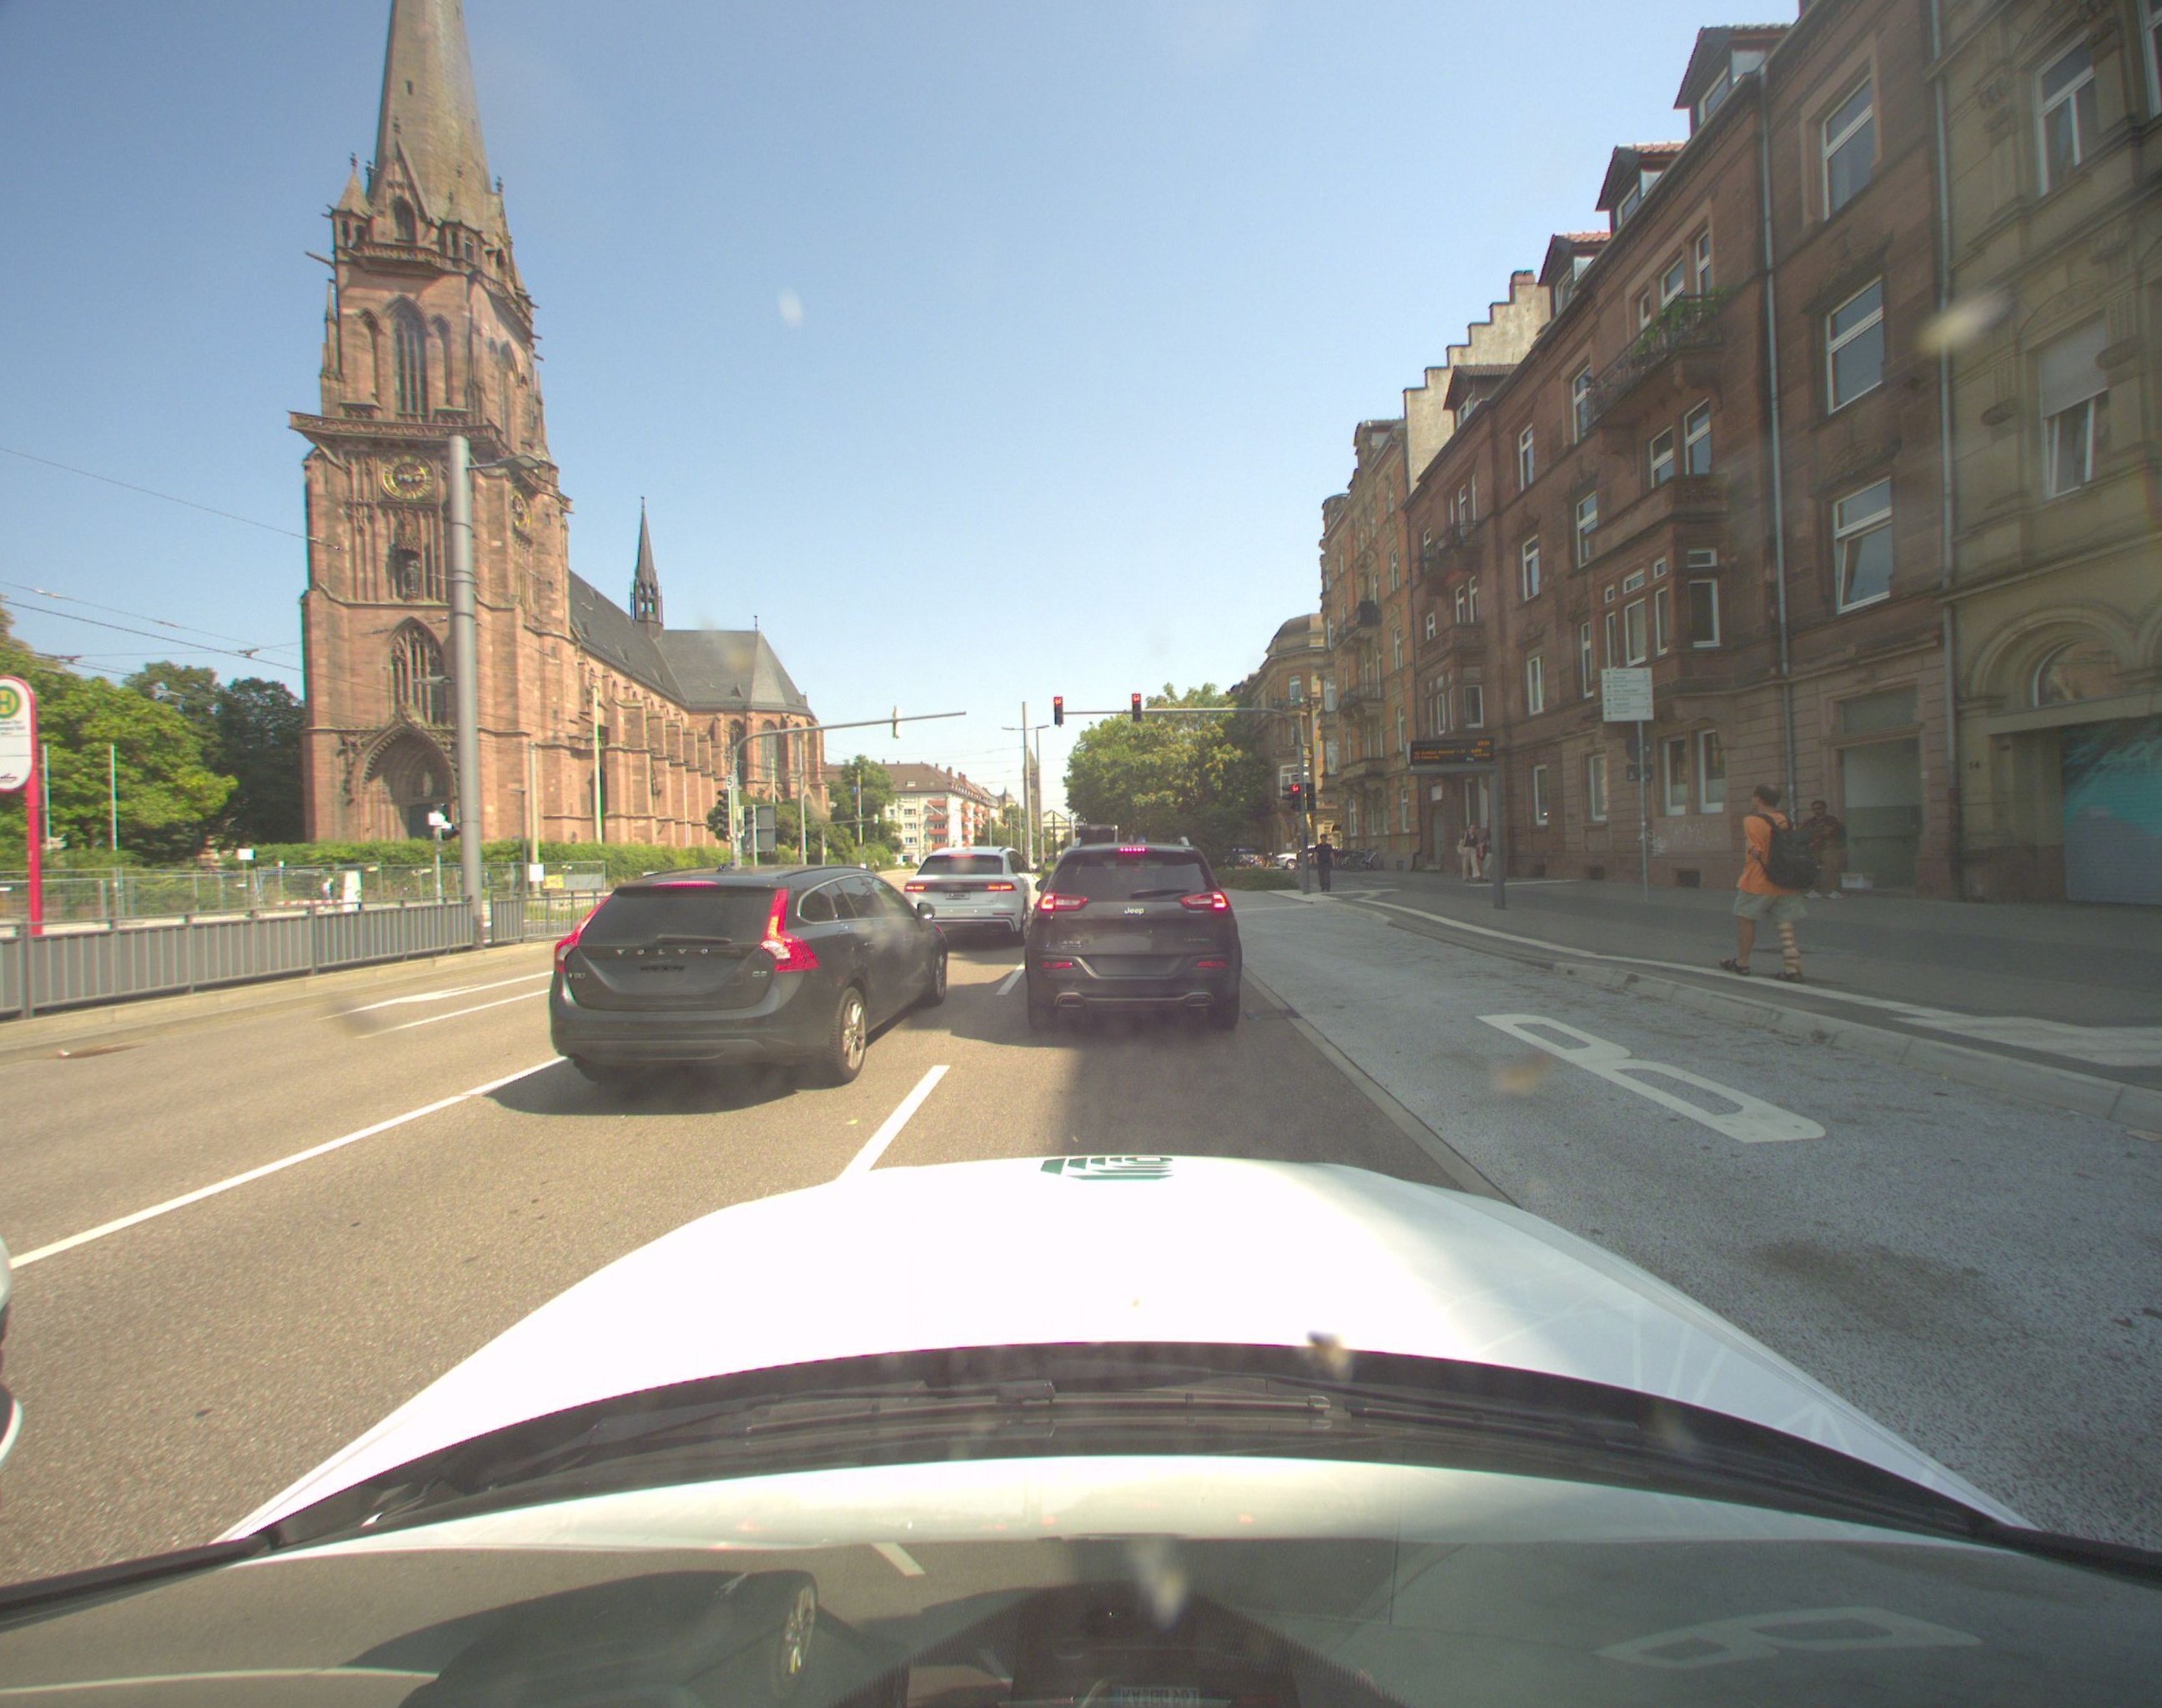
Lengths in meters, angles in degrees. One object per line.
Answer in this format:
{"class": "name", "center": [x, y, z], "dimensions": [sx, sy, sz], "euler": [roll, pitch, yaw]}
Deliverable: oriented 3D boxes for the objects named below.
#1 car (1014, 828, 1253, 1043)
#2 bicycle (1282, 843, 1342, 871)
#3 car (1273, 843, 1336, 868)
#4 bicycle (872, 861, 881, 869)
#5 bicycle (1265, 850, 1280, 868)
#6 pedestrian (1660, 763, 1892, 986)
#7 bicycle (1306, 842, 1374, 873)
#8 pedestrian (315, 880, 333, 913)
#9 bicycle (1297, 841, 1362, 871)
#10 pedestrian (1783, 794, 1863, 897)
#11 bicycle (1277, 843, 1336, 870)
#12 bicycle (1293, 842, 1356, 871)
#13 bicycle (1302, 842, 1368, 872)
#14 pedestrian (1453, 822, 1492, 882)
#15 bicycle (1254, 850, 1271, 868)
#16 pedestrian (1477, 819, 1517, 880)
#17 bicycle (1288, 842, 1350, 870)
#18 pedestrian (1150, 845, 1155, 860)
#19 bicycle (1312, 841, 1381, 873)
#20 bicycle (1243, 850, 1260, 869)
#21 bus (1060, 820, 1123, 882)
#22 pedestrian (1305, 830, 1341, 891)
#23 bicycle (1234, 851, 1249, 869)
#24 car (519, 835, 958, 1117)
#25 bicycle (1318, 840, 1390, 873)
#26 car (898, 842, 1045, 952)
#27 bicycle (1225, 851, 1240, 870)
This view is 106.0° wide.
{"class": "car", "center": [0.521, 0.629, 8.466], "dimensions": [1.825, 1.651, 4.312], "euler": [-1, 0, 3]}
{"class": "bicycle", "center": [12.737, 0.161, 44.993], "dimensions": [2.993, 1.373, 0.948], "euler": [-2, 0, 1]}
{"class": "car", "center": [15.691, 0.097, 57.278], "dimensions": [3.926, 1.521, 1.679], "euler": [-2, 0, -6]}
{"class": "bicycle", "center": [-23.223, 1.253, 92.512], "dimensions": [0.452, 0.859, 1.477], "euler": [-2, 0, 3]}
{"class": "bicycle", "center": [13.799, 0.322, 58.740], "dimensions": [0.655, 1.249, 2.415], "euler": [-2, 0, 4]}
{"class": "pedestrian", "center": [5.929, 0.171, 7.056], "dimensions": [0.959, 1.741, 1.241], "euler": [-2, -1, 6]}
{"class": "bicycle", "center": [12.603, 0.151, 39.679], "dimensions": [2.983, 1.371, 0.871], "euler": [-2, 0, 1]}
{"class": "pedestrian", "center": [-36.556, 2.046, 39.312], "dimensions": [0.430, 1.531, 0.548], "euler": [-3, 0, 42]}
{"class": "bicycle", "center": [12.687, 0.115, 41.569], "dimensions": [2.993, 1.373, 0.948], "euler": [-2, 0, 1]}
{"class": "pedestrian", "center": [13.274, -0.152, 14.570], "dimensions": [0.872, 1.778, 0.737], "euler": [-2, 0, -26]}
{"class": "bicycle", "center": [12.730, 0.146, 46.035], "dimensions": [2.993, 1.373, 0.948], "euler": [-2, 0, 1]}
{"class": "bicycle", "center": [12.735, 0.109, 42.664], "dimensions": [2.993, 1.373, 0.948], "euler": [-2, 0, 1]}
{"class": "bicycle", "center": [12.657, 0.138, 40.625], "dimensions": [2.983, 1.371, 0.871], "euler": [-2, 0, 1]}
{"class": "pedestrian", "center": [11.927, -0.074, 24.832], "dimensions": [0.711, 1.776, 0.848], "euler": [-2, 0, 1]}
{"class": "bicycle", "center": [12.984, 0.355, 58.325], "dimensions": [0.759, 1.253, 3.017], "euler": [-2, 0, 4]}
{"class": "pedestrian", "center": [12.665, -0.138, 24.801], "dimensions": [0.712, 1.778, 0.870], "euler": [-2, 0, 0]}
{"class": "bicycle", "center": [12.728, 0.086, 43.675], "dimensions": [2.993, 1.373, 0.948], "euler": [-2, 0, 1]}
{"class": "pedestrian", "center": [9.598, -0.156, 109.557], "dimensions": [0.526, 2.013, 0.532], "euler": [-2, 0, 0]}
{"class": "bicycle", "center": [12.612, 0.157, 38.765], "dimensions": [2.983, 1.371, 0.871], "euler": [-2, 0, 1]}
{"class": "bicycle", "center": [12.198, 0.388, 58.329], "dimensions": [0.729, 1.253, 3.017], "euler": [-2, 0, 4]}
{"class": "bus", "center": [0.405, -0.115, 48.874], "dimensions": [2.738, 3.107, 11.939], "euler": [-3, 0, -4]}
{"class": "pedestrian", "center": [7.234, 0.180, 24.323], "dimensions": [0.891, 1.741, 0.772], "euler": [-4, -1, 17]}
{"class": "bicycle", "center": [11.501, 0.415, 58.347], "dimensions": [0.646, 1.253, 3.017], "euler": [-2, 0, 4]}
{"class": "car", "center": [-2.324, 0.707, 6.894], "dimensions": [1.741, 1.614, 4.310], "euler": [-1, 0, 2]}
{"class": "bicycle", "center": [12.675, 0.127, 37.857], "dimensions": [2.983, 1.371, 0.871], "euler": [-2, 0, 1]}
{"class": "car", "center": [-1.785, 0.649, 14.697], "dimensions": [1.895, 1.651, 4.310], "euler": [-1, 0, 2]}
{"class": "bicycle", "center": [10.844, 0.445, 58.388], "dimensions": [0.646, 1.253, 3.017], "euler": [-2, 0, 4]}
